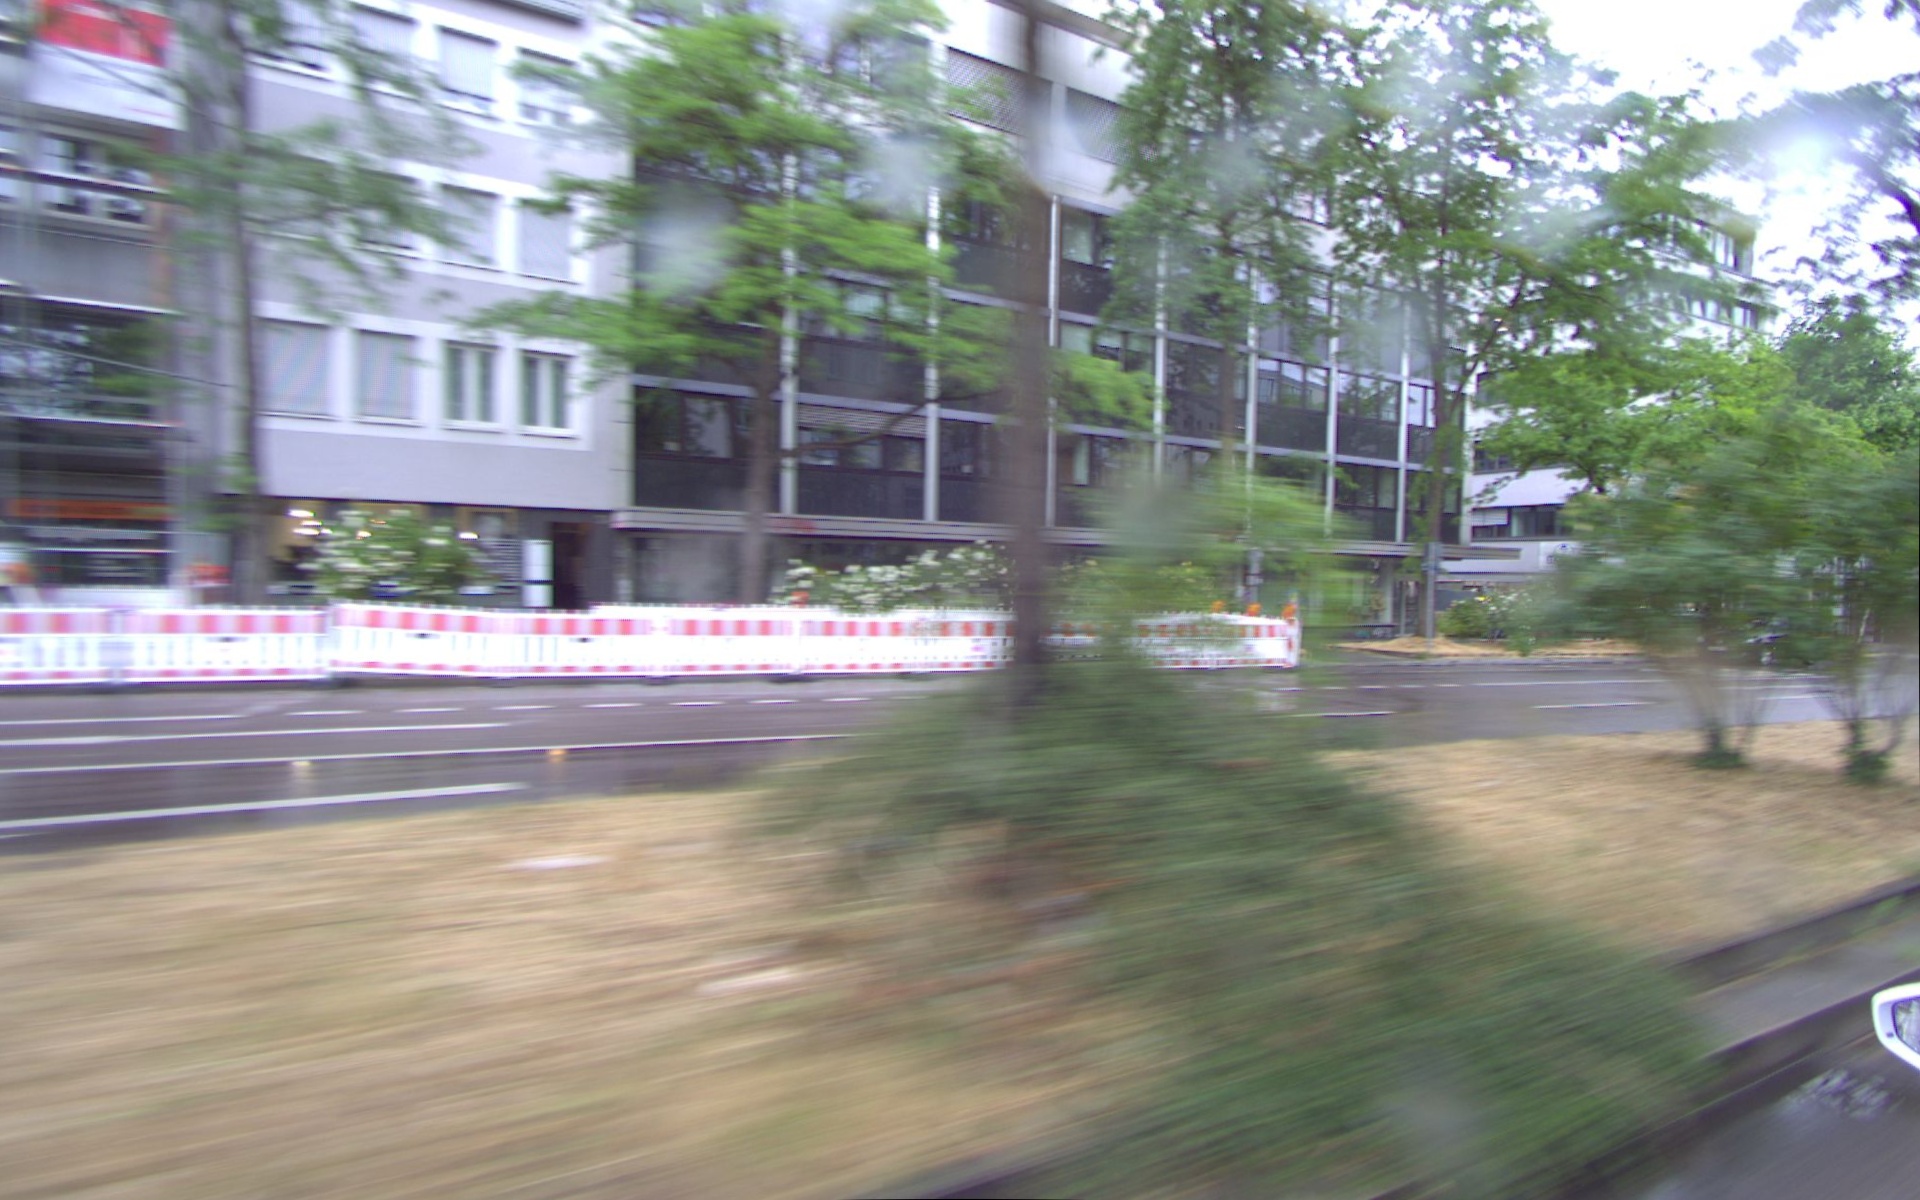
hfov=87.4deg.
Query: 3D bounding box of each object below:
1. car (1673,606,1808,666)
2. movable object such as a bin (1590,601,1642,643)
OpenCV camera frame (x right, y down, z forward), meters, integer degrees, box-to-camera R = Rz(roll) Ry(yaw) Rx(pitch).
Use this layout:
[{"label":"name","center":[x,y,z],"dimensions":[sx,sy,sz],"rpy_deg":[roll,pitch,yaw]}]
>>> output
[{"label":"car","center":[23.571,1.083,30.318],"dimensions":[3.975,1.657,1.770],"rpy_deg":[2,0,-29]},{"label":"movable object such as a bin","center":[25.040,0.830,38.356],"dimensions":[1.074,1.508,1.274],"rpy_deg":[2,1,-26]}]
